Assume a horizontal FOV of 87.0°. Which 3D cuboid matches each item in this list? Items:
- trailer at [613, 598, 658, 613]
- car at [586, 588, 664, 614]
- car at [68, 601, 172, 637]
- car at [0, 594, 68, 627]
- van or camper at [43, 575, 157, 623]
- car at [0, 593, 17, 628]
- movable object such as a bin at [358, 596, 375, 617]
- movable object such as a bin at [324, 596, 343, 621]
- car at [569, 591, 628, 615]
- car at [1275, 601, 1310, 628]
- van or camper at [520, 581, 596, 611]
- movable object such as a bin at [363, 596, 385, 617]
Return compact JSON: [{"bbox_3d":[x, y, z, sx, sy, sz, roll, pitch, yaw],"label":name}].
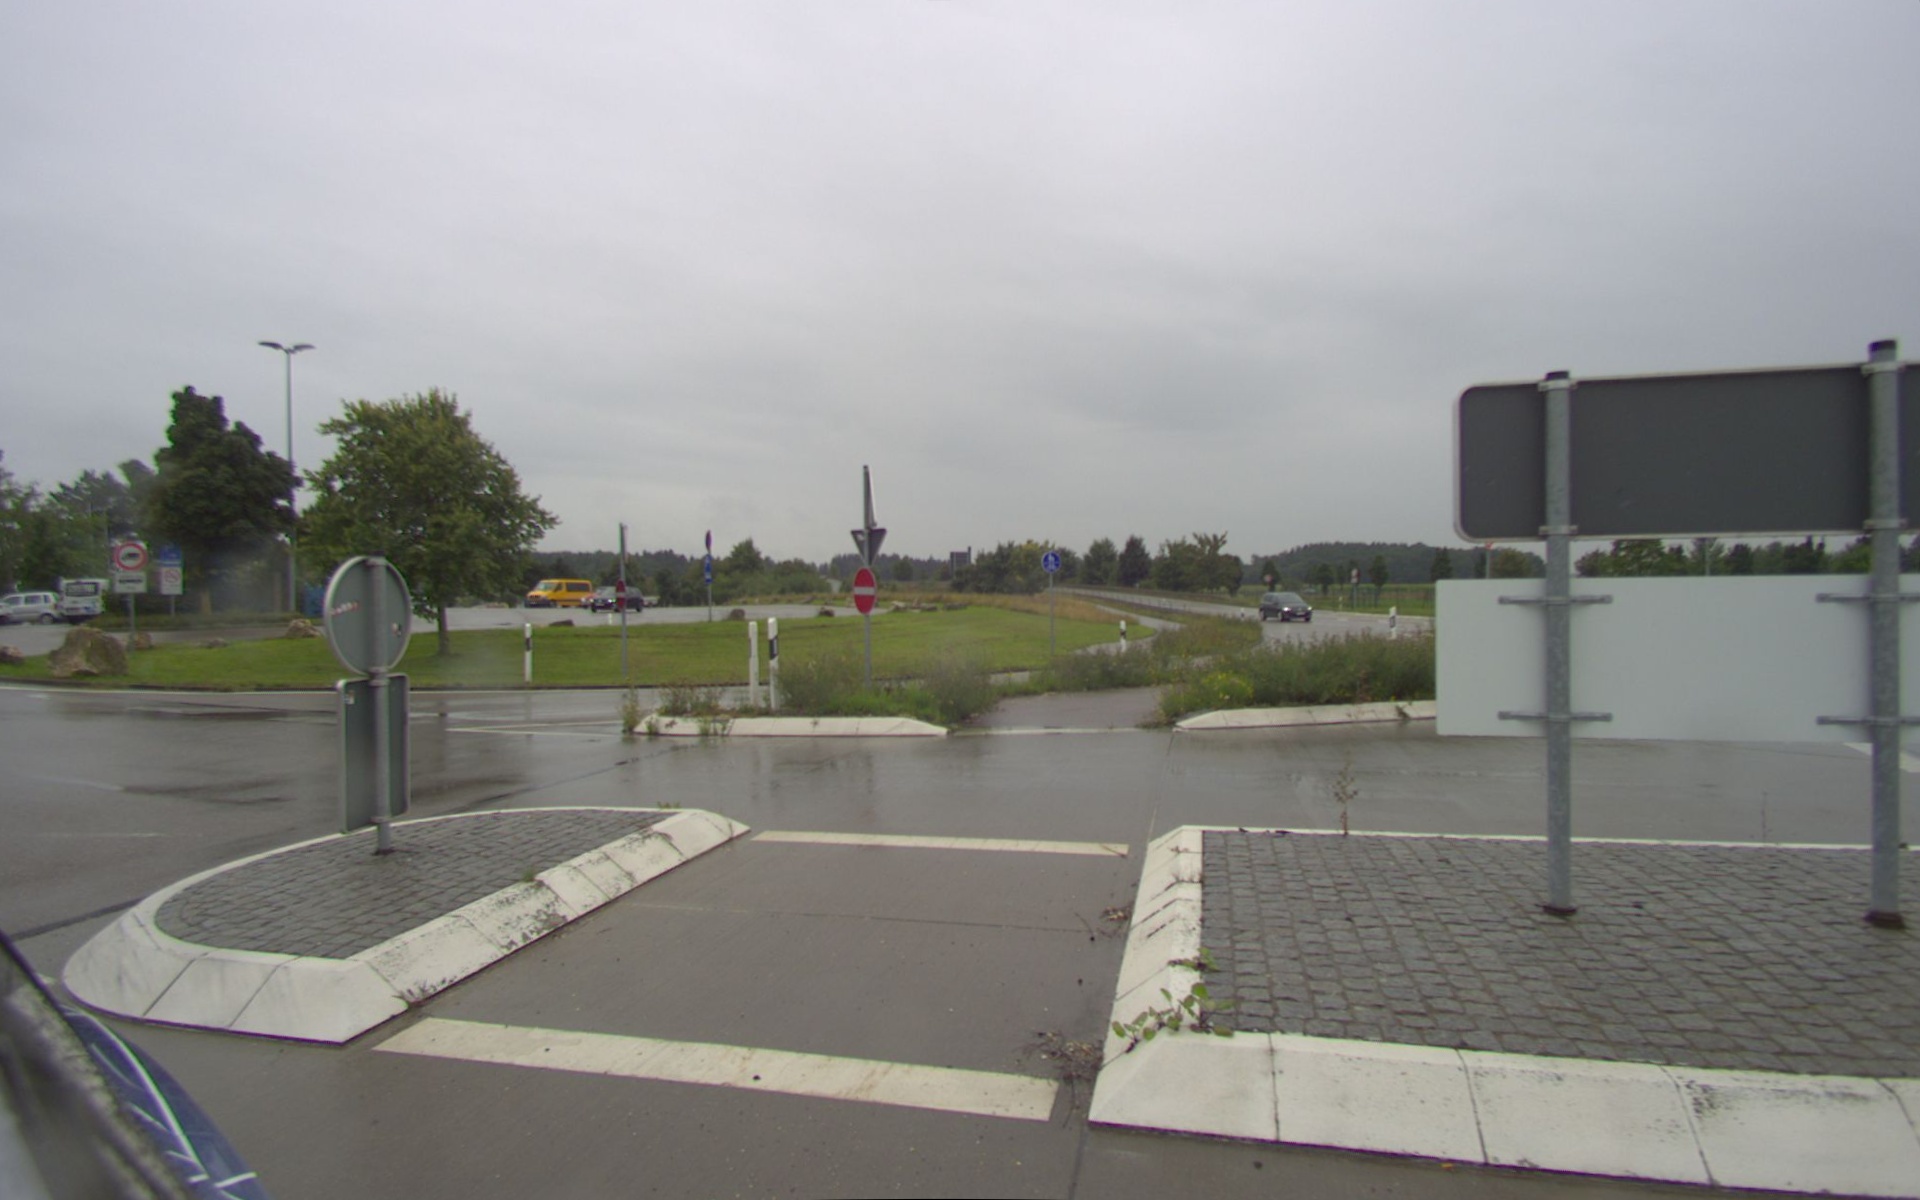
[{"bbox_3d":[-23.172,0.403,72.394,1.578,1.075,3.009,-1,-1,21],"label":"trailer"},{"bbox_3d":[-19.617,0.057,59.370,1.779,1.444,4.022,0,0,41],"label":"car"},{"bbox_3d":[-52.838,1.161,63.786,4.686,2.097,2.007,-1,1,-26],"label":"car"},{"bbox_3d":[-48.568,0.511,51.239,4.686,1.599,2.007,-1,1,-26],"label":"car"},{"bbox_3d":[-38.718,-0.084,45.741,2.157,1.959,5.214,1,2,-19],"label":"van or camper"},{"bbox_3d":[-44.450,0.475,44.015,4.686,1.483,1.892,-1,1,-26],"label":"car"},{"bbox_3d":[-25.869,0.272,44.120,0.489,0.927,0.415,0,0,5],"label":"movable object such as a bin"},{"bbox_3d":[-23.429,0.317,37.843,0.443,0.945,0.489,0,0,-5],"label":"movable object such as a bin"},{"bbox_3d":[-24.655,0.203,69.155,1.539,1.567,4.028,0,0,21],"label":"car"},{"bbox_3d":[19.323,0.830,58.982,1.571,1.464,3.741,0,0,13],"label":"car"},{"bbox_3d":[-31.990,-0.324,80.813,2.117,2.263,6.379,0,0,18],"label":"van or camper"},{"bbox_3d":[-26.041,0.272,44.966,0.622,0.927,0.556,0,0,5],"label":"movable object such as a bin"}]
